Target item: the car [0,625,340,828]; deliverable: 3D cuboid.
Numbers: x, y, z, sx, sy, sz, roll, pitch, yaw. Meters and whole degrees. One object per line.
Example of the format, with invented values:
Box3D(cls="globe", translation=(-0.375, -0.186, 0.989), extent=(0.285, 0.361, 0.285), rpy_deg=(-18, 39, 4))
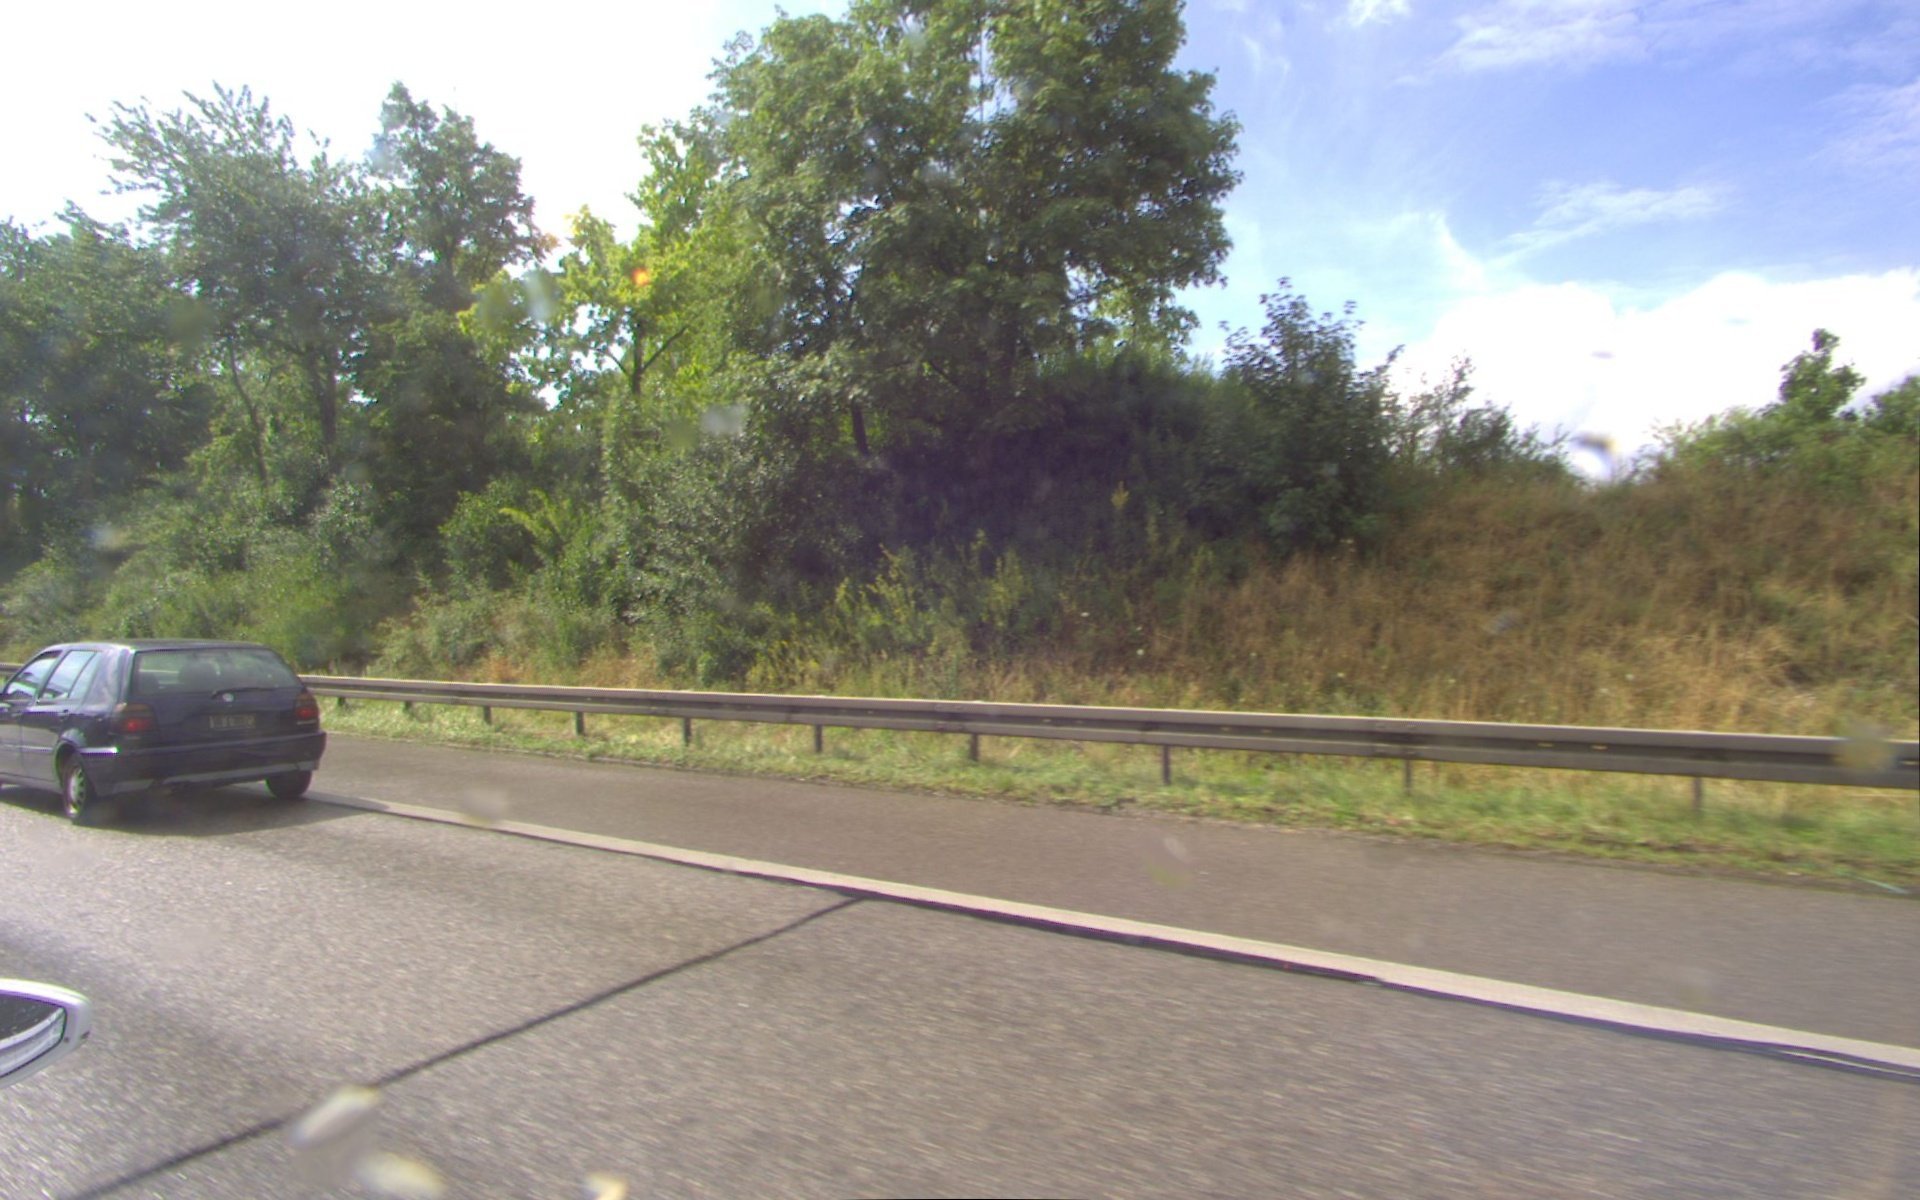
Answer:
Box3D(cls="car", translation=(-7.375, 0.964, 8.941), extent=(3.690, 1.475, 1.648), rpy_deg=(-1, -1, 31))
